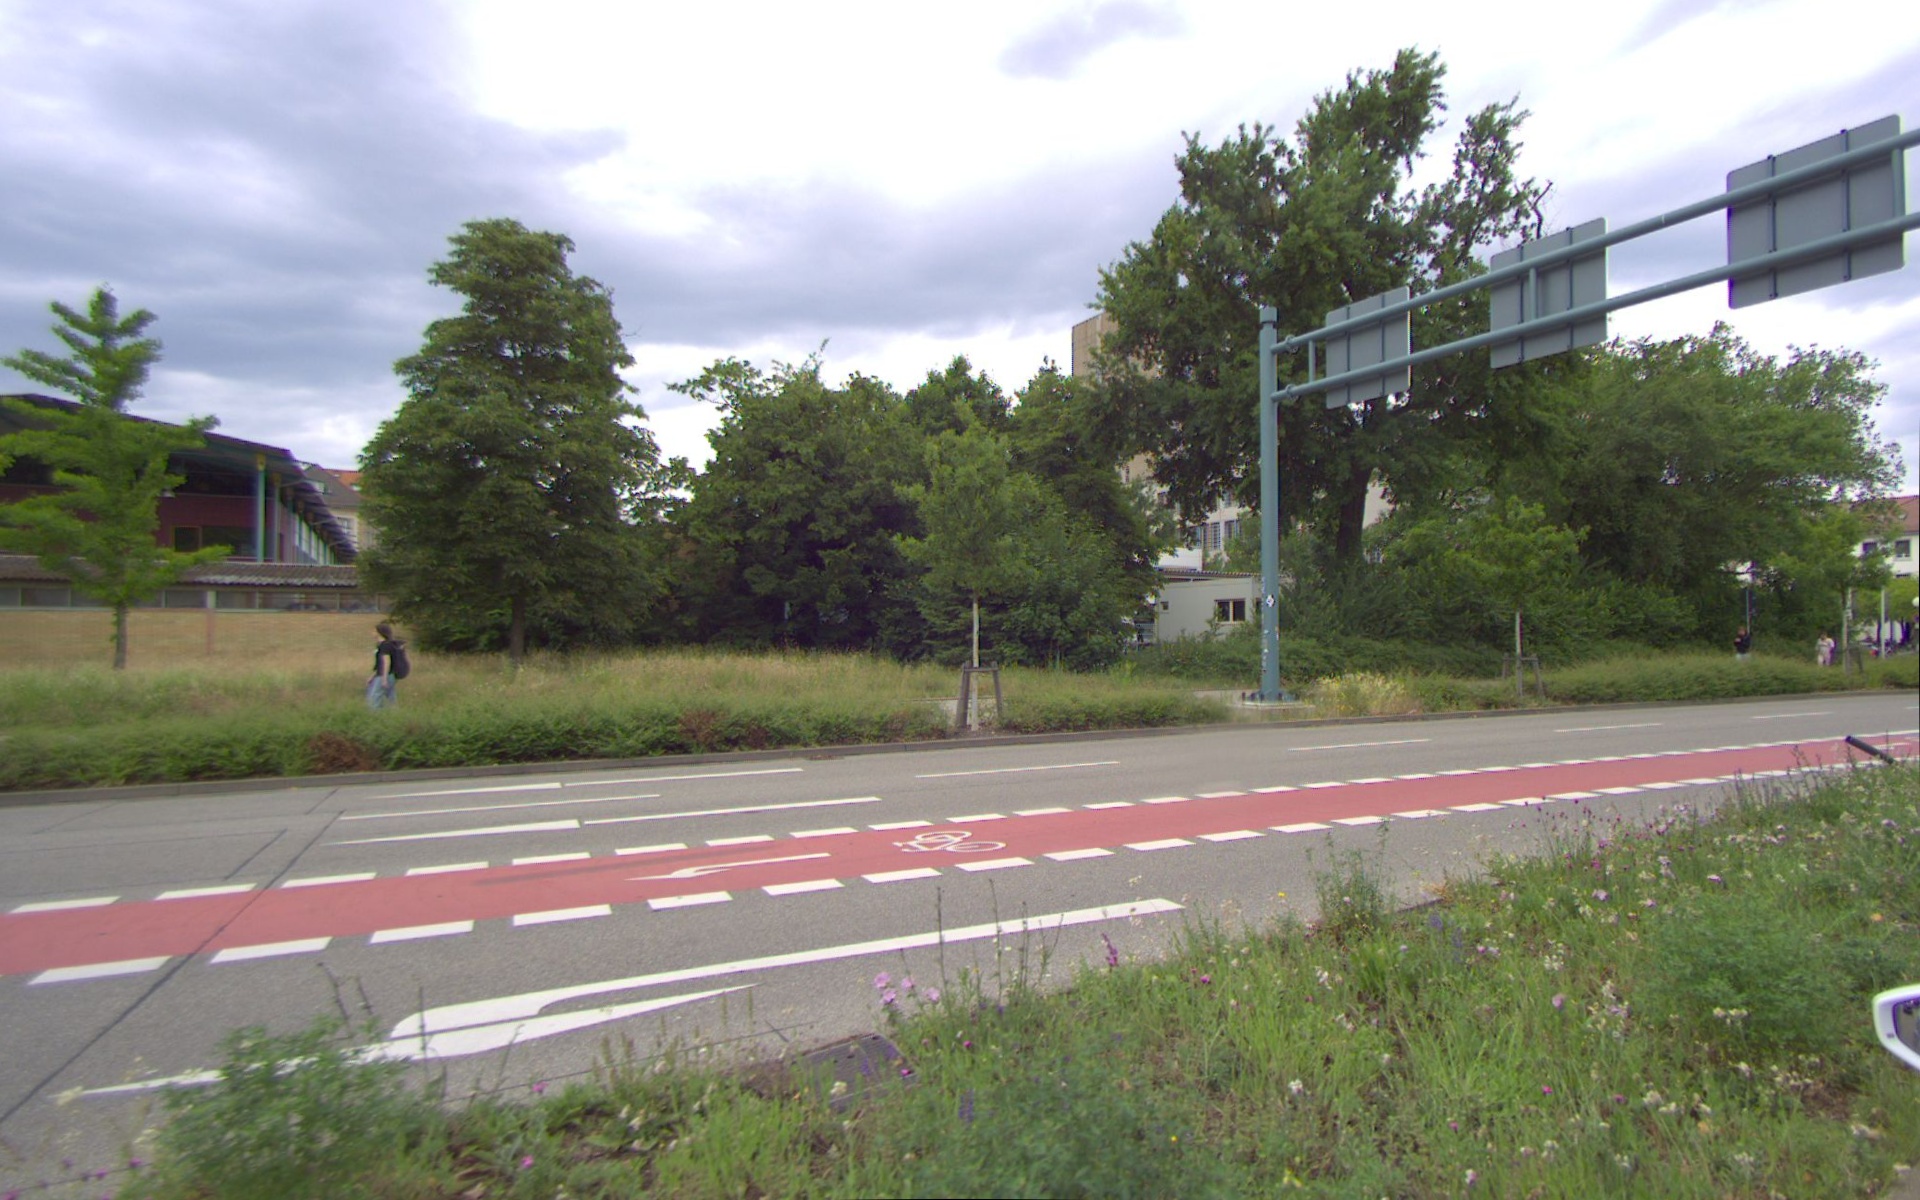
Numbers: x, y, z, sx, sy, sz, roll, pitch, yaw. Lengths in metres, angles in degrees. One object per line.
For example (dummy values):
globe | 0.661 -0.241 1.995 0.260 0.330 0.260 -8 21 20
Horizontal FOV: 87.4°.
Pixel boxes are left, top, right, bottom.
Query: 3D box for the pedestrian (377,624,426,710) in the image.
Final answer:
pedestrian | -9.183 1.094 16.545 0.672 1.380 0.642 0 -3 -27

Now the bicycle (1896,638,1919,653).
bicycle | 66.760 3.186 70.601 0.585 1.066 1.387 2 -4 -44

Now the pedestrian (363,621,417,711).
pedestrian | -9.004 1.037 15.887 0.702 1.375 0.643 0 -3 -27

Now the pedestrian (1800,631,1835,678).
pedestrian | 31.059 1.965 36.373 0.662 1.657 0.698 0 -3 -25

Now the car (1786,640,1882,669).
car | 50.480 3.131 58.082 1.610 1.472 4.014 -6 2 -42

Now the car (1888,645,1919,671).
car | 53.107 3.173 54.575 1.545 1.240 3.637 -7 3 -31

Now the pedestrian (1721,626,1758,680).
pedestrian | 25.988 1.758 33.473 0.807 1.752 0.618 0 -3 -26
